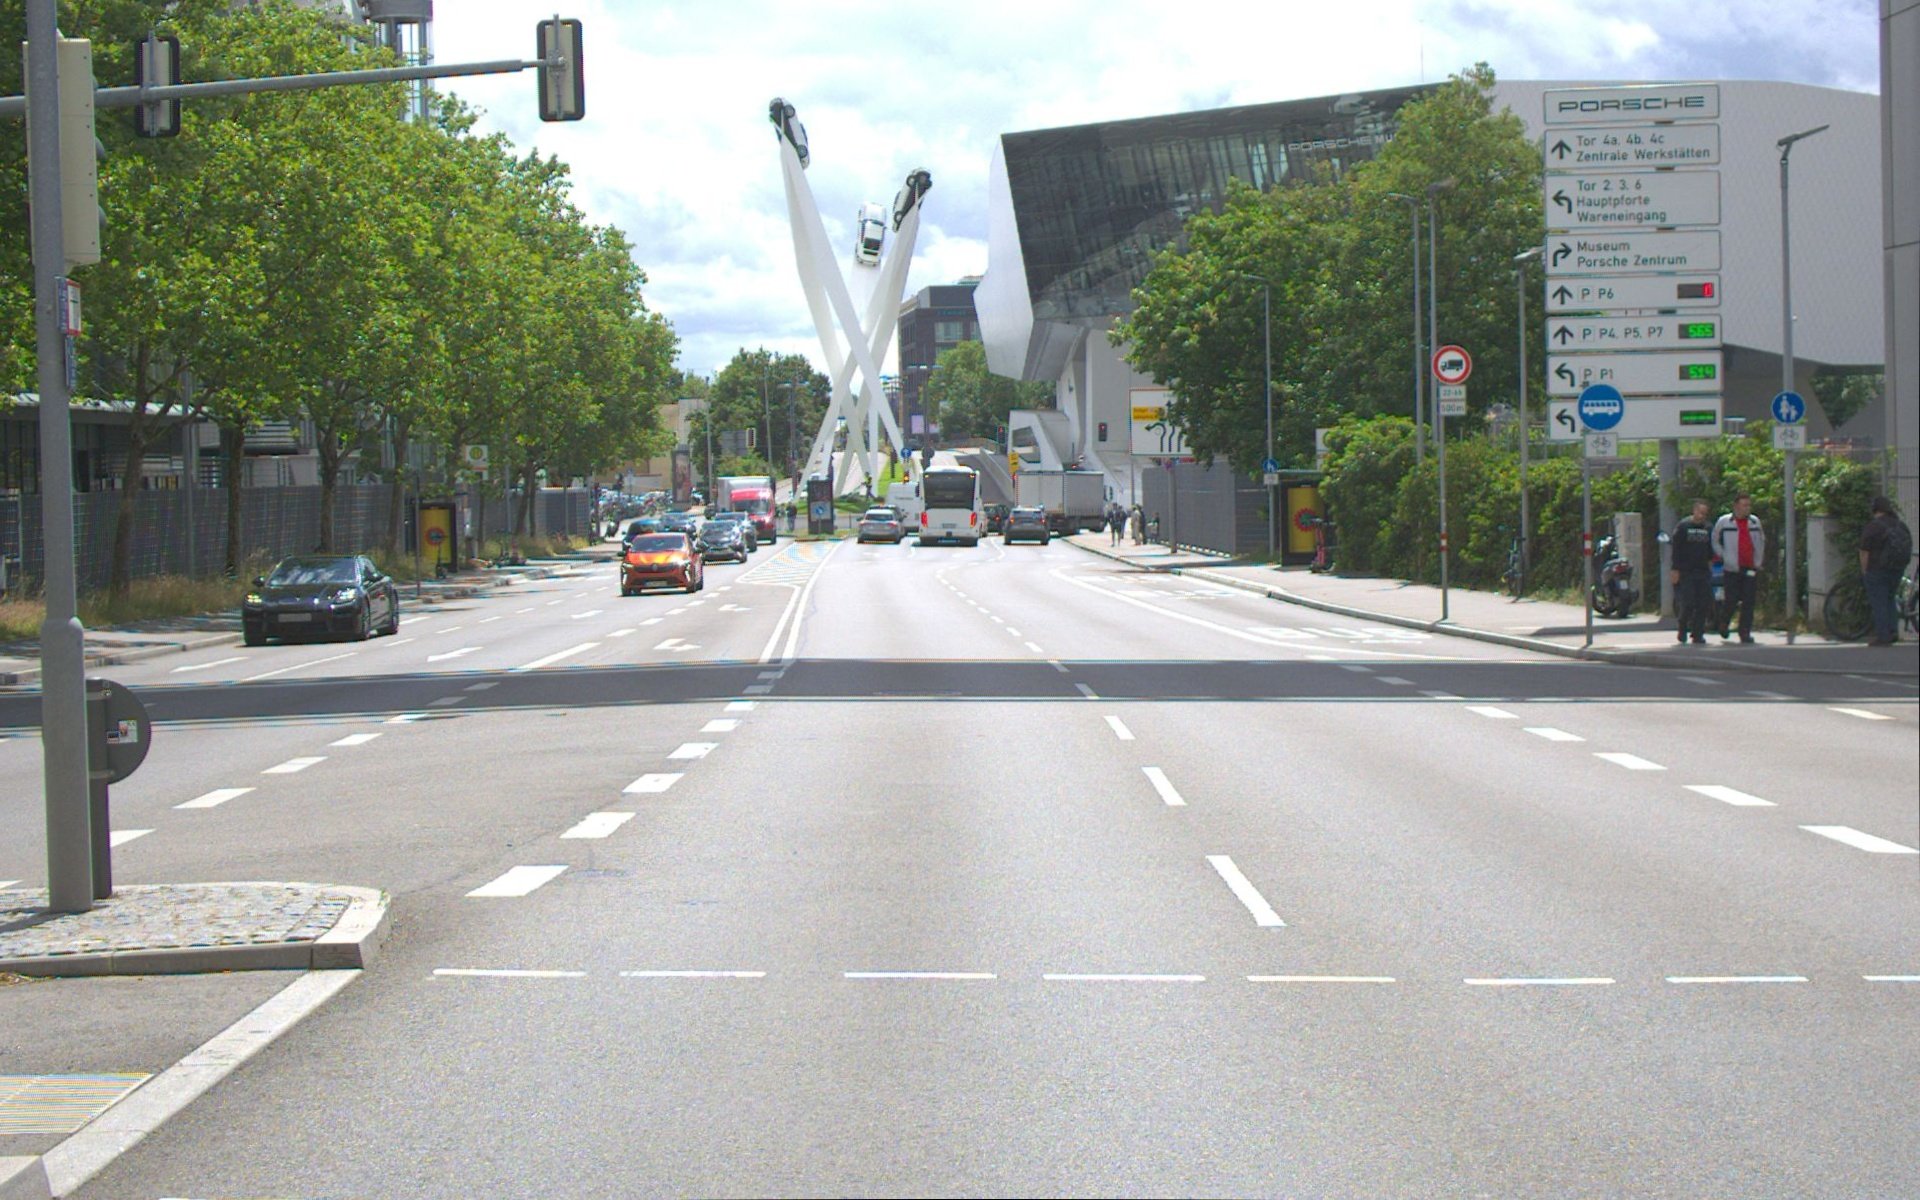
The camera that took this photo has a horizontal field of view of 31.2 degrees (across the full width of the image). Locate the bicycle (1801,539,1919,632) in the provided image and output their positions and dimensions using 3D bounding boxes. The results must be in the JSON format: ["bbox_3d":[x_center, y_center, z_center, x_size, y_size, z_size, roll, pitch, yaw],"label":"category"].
[{"bbox_3d":[11.164,-0.176,40.869,2.222,1.083,0.476,1,1,35],"label":"bicycle"}]

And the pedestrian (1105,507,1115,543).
[{"bbox_3d":[6.016,-3.015,137.986,0.386,1.416,0.423,1,0,0],"label":"pedestrian"}]

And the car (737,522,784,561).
[{"bbox_3d":[-7.824,-2.326,135.148,1.557,1.443,3.773,-3,1,0],"label":"car"}]

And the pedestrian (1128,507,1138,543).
[{"bbox_3d":[6.880,-2.981,136.683,0.386,1.416,0.423,1,0,0],"label":"pedestrian"}]

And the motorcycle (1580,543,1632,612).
[{"bbox_3d":[9.759,-0.345,52.007,0.457,1.019,1.912,1,1,1],"label":"motorcycle"}]

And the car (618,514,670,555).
[{"bbox_3d":[-12.328,-2.556,134.412,1.797,1.568,4.001,0,1,-2],"label":"car"}]

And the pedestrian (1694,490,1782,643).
[{"bbox_3d":[9.327,-0.401,41.224,0.691,1.787,0.712,-3,1,-16],"label":"pedestrian"}]

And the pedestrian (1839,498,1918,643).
[{"bbox_3d":[10.478,-0.336,39.236,0.533,1.635,0.658,0,0,-37],"label":"pedestrian"}]

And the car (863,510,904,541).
[{"bbox_3d":[-3.303,-3.230,148.636,1.557,1.269,3.701,-3,1,1],"label":"car"}]

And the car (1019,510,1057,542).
[{"bbox_3d":[3.295,-3.142,146.221,1.557,1.269,3.701,-3,1,1],"label":"car"}]

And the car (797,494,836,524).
[{"bbox_3d":[-6.489,-4.100,155.697,1.557,1.269,3.701,-3,1,0],"label":"car"}]

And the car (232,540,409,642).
[{"bbox_3d":[-10.410,-0.184,56.292,1.917,1.483,4.772,-3,1,0],"label":"car"}]

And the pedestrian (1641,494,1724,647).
[{"bbox_3d":[8.636,-0.358,41.111,0.641,1.787,0.712,-3,1,-16],"label":"pedestrian"}]

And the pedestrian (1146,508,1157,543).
[{"bbox_3d":[7.700,-2.989,138.239,0.386,1.416,0.423,1,0,0],"label":"pedestrian"}]

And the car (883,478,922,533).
[{"bbox_3d":[-2.867,-4.697,171.109,1.843,2.614,4.000,1,1,-2],"label":"car"}]

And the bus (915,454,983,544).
[{"bbox_3d":[-0.451,-4.253,146.590,2.787,3.673,6.943,1,1,0],"label":"bus"}]

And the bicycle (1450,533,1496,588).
[{"bbox_3d":[9.732,-0.744,65.264,0.418,1.019,1.913,1,1,-5],"label":"bicycle"}]

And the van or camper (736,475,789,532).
[{"bbox_3d":[-8.746,-4.262,152.609,2.047,2.458,5.595,0,1,0],"label":"van or camper"}]

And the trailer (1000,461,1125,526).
[{"bbox_3d":[5.200,-5.294,172.066,3.322,2.984,10.366,1,1,19],"label":"trailer"}]

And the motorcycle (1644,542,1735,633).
[{"bbox_3d":[9.540,-0.166,45.024,0.418,1.162,1.957,1,1,-11],"label":"motorcycle"}]

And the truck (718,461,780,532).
[{"bbox_3d":[-10.428,-5.108,170.580,2.591,3.312,7.079,1,1,0],"label":"truck"}]

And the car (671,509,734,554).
[{"bbox_3d":[-8.649,-2.314,115.673,1.769,1.415,3.701,-3,1,0],"label":"car"}]

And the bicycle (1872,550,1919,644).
[{"bbox_3d":[11.656,-0.019,39.539,2.222,1.083,0.476,1,1,35],"label":"bicycle"}]

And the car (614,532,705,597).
[{"bbox_3d":[-7.075,-0.864,81.265,1.769,1.415,3.701,-3,1,0],"label":"car"}]
